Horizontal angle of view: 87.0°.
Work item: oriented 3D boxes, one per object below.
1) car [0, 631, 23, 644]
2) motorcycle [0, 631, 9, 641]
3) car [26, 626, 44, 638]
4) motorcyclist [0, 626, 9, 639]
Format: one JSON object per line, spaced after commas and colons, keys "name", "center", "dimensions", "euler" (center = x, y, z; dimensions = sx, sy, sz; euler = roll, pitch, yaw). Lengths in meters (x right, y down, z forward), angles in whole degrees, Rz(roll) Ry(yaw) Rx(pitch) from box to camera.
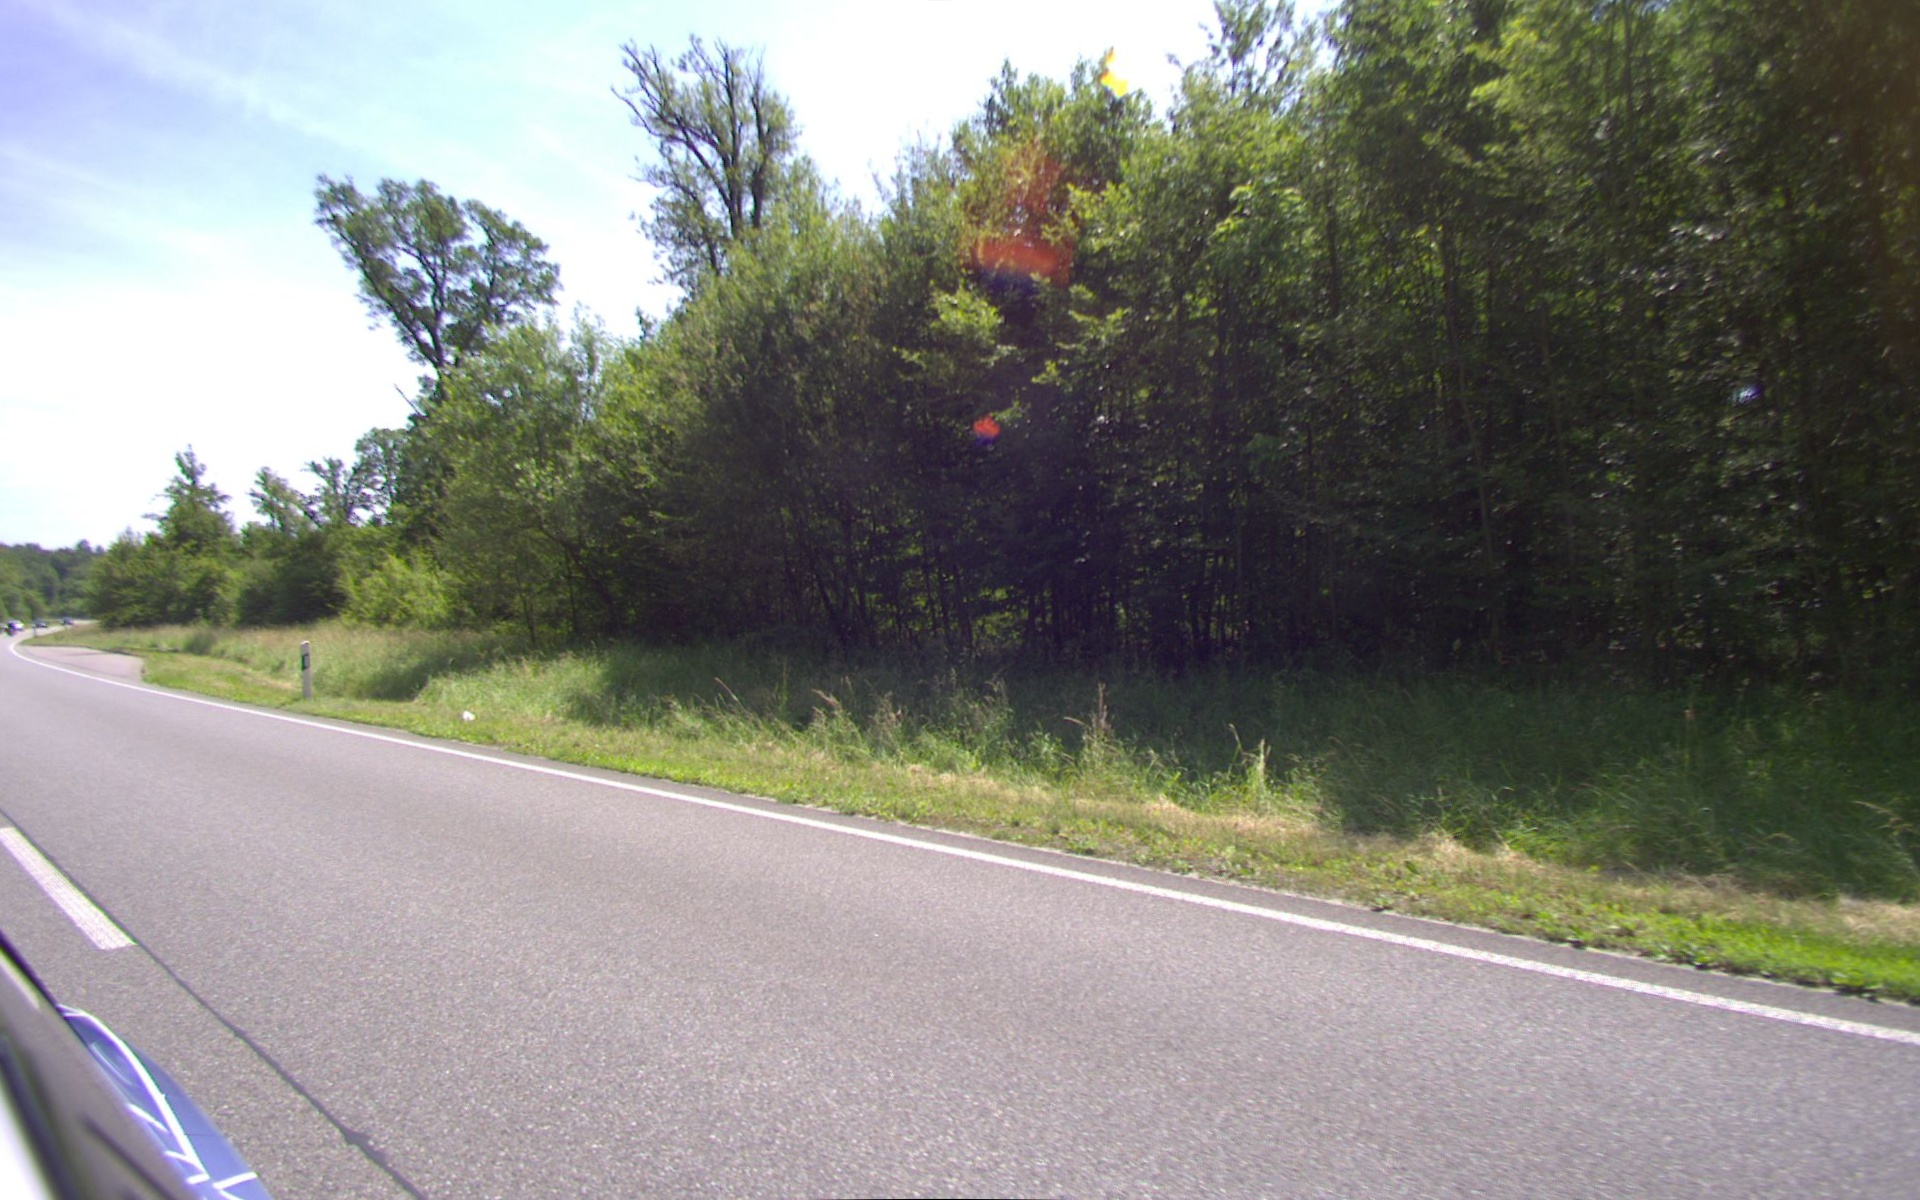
{"name": "car", "center": [-133.215, 5.258, 142.094], "dimensions": [1.988, 1.761, 4.390], "euler": [-1, -1, -37]}
{"name": "motorcycle", "center": [-99.770, 3.742, 105.383], "dimensions": [1.002, 1.071, 2.775], "euler": [1, -3, -42]}
{"name": "car", "center": [-153.056, 5.287, 167.500], "dimensions": [1.666, 1.741, 4.010], "euler": [-1, 0, -34]}
{"name": "motorcyclist", "center": [-99.775, 3.343, 105.421], "dimensions": [0.997, 1.337, 0.967], "euler": [-1, -1, -42]}
